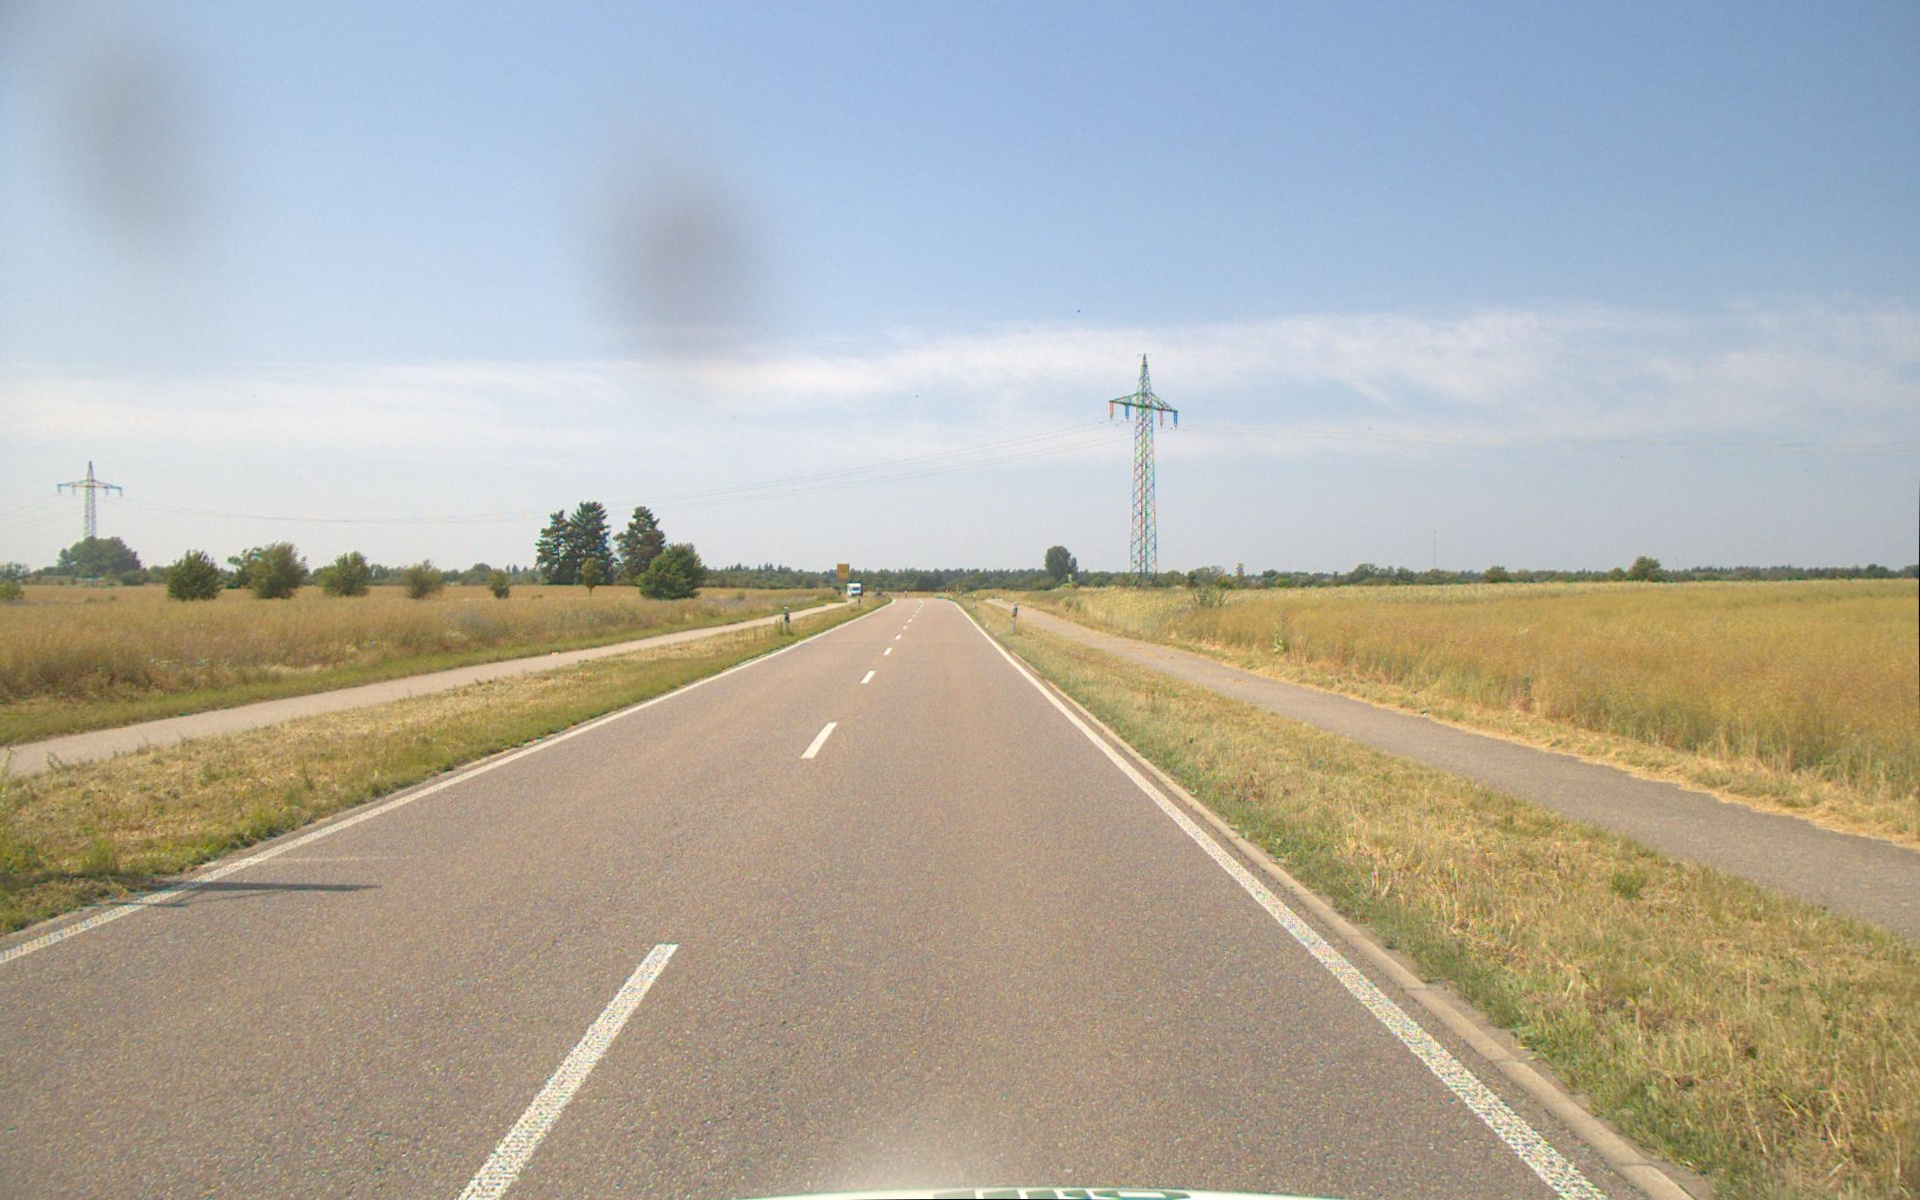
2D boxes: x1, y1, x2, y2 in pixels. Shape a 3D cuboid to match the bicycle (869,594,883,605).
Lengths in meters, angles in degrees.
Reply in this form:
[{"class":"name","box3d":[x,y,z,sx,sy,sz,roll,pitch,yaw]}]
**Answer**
[{"class":"bicycle","box3d":[-9.489,-0.051,186.680,0.747,1.250,2.216,-1,0,21]}]
